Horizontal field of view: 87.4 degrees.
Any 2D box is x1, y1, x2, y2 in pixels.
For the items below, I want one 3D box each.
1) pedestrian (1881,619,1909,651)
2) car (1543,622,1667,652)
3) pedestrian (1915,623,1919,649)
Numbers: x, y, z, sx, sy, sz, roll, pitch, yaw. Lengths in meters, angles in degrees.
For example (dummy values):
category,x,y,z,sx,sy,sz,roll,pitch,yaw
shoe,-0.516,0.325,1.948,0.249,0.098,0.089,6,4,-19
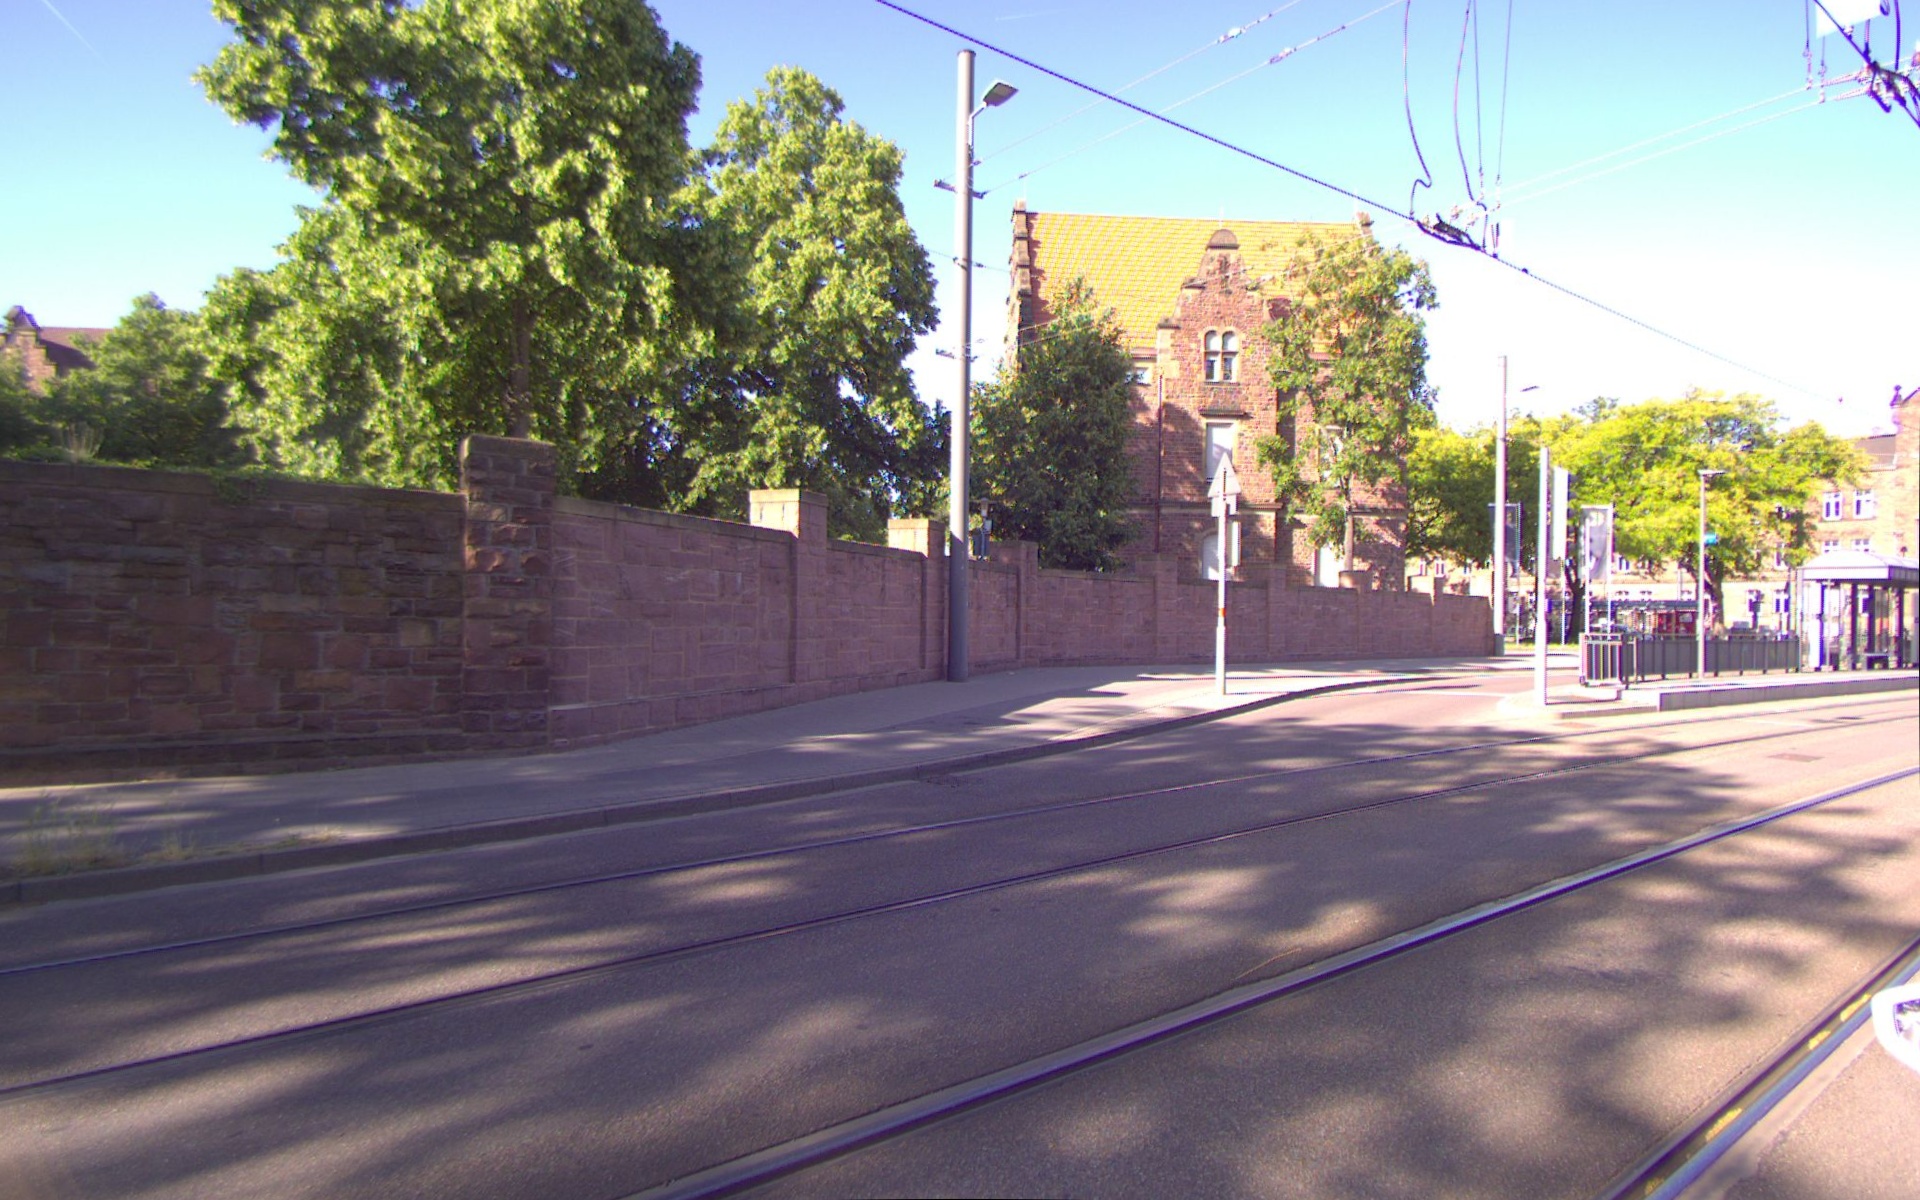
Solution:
category,x,y,z,sx,sy,sz,roll,pitch,yaw
pedestrian,52.332,1.949,56.215,1.017,1.714,0.839,2,0,-30
car,46.064,2.612,71.975,2.957,1.946,6.915,1,-1,-30
pedestrian,58.340,2.193,60.642,0.924,1.609,0.798,2,0,-32
